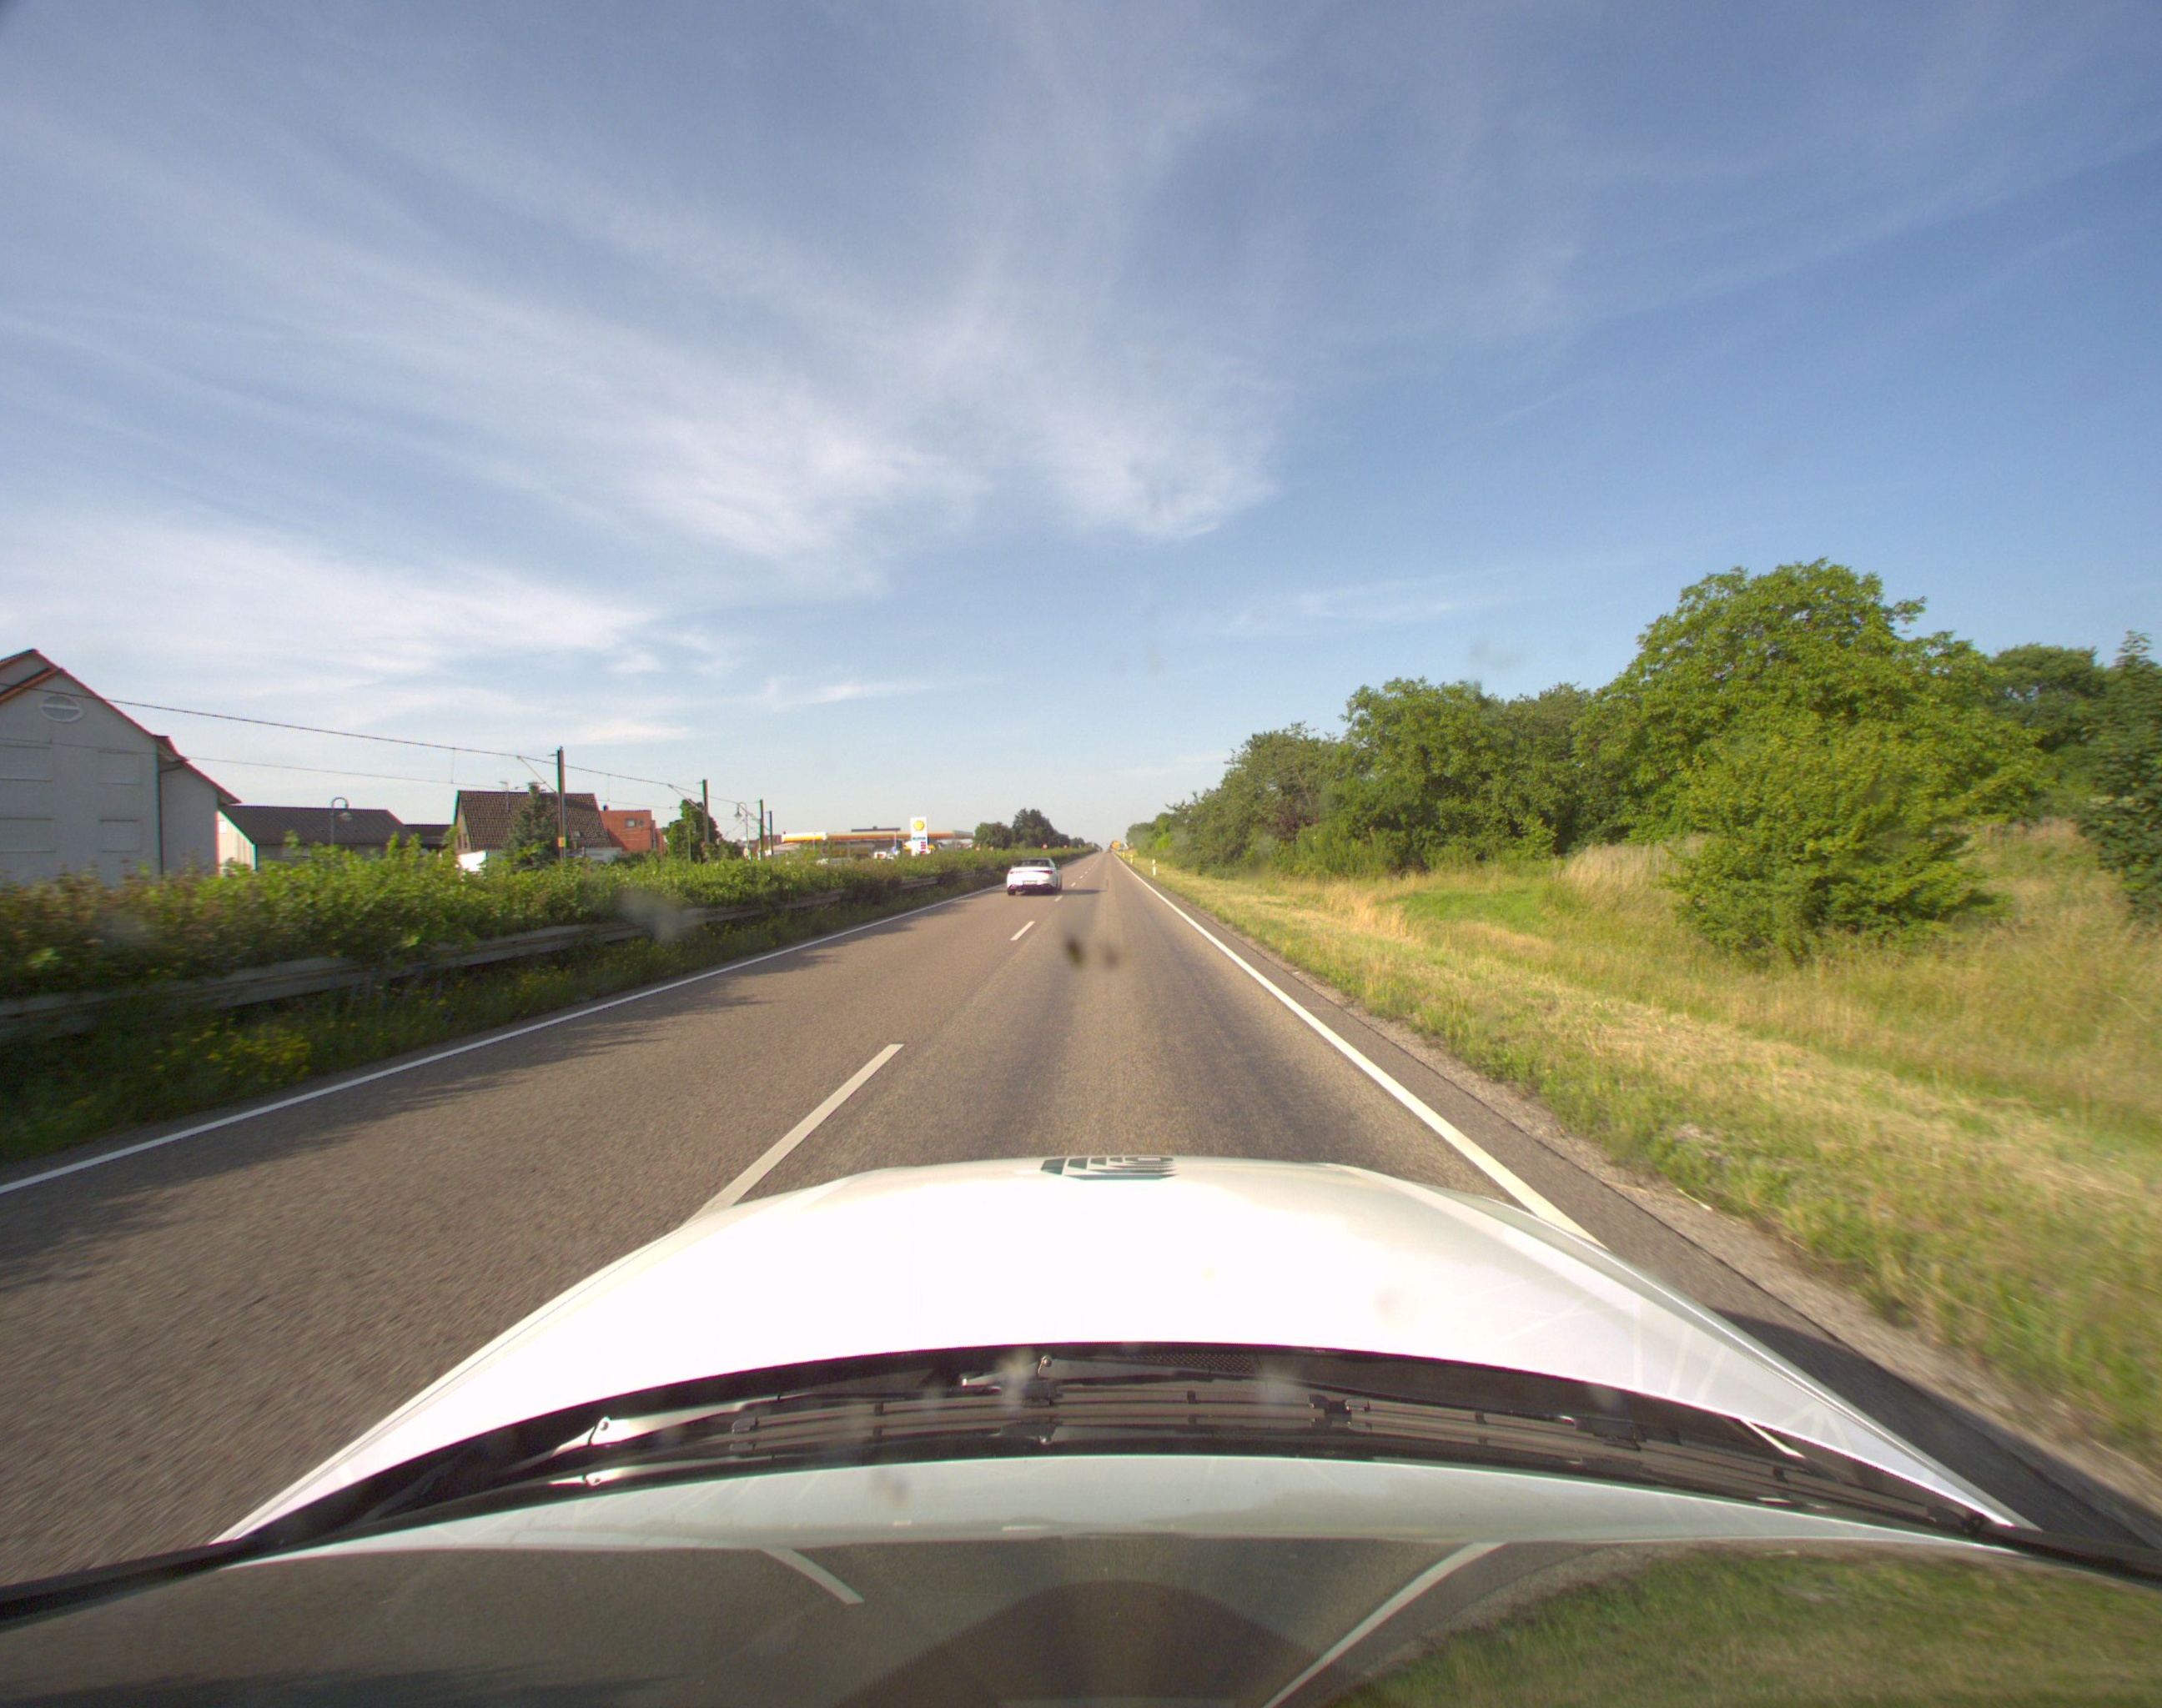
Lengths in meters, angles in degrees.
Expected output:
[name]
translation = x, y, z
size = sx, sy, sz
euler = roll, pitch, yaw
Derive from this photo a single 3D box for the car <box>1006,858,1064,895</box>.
[car]
translation = -1.706, 0.827, 31.855
size = 1.764, 1.337, 4.953
euler = 0, 0, 2
